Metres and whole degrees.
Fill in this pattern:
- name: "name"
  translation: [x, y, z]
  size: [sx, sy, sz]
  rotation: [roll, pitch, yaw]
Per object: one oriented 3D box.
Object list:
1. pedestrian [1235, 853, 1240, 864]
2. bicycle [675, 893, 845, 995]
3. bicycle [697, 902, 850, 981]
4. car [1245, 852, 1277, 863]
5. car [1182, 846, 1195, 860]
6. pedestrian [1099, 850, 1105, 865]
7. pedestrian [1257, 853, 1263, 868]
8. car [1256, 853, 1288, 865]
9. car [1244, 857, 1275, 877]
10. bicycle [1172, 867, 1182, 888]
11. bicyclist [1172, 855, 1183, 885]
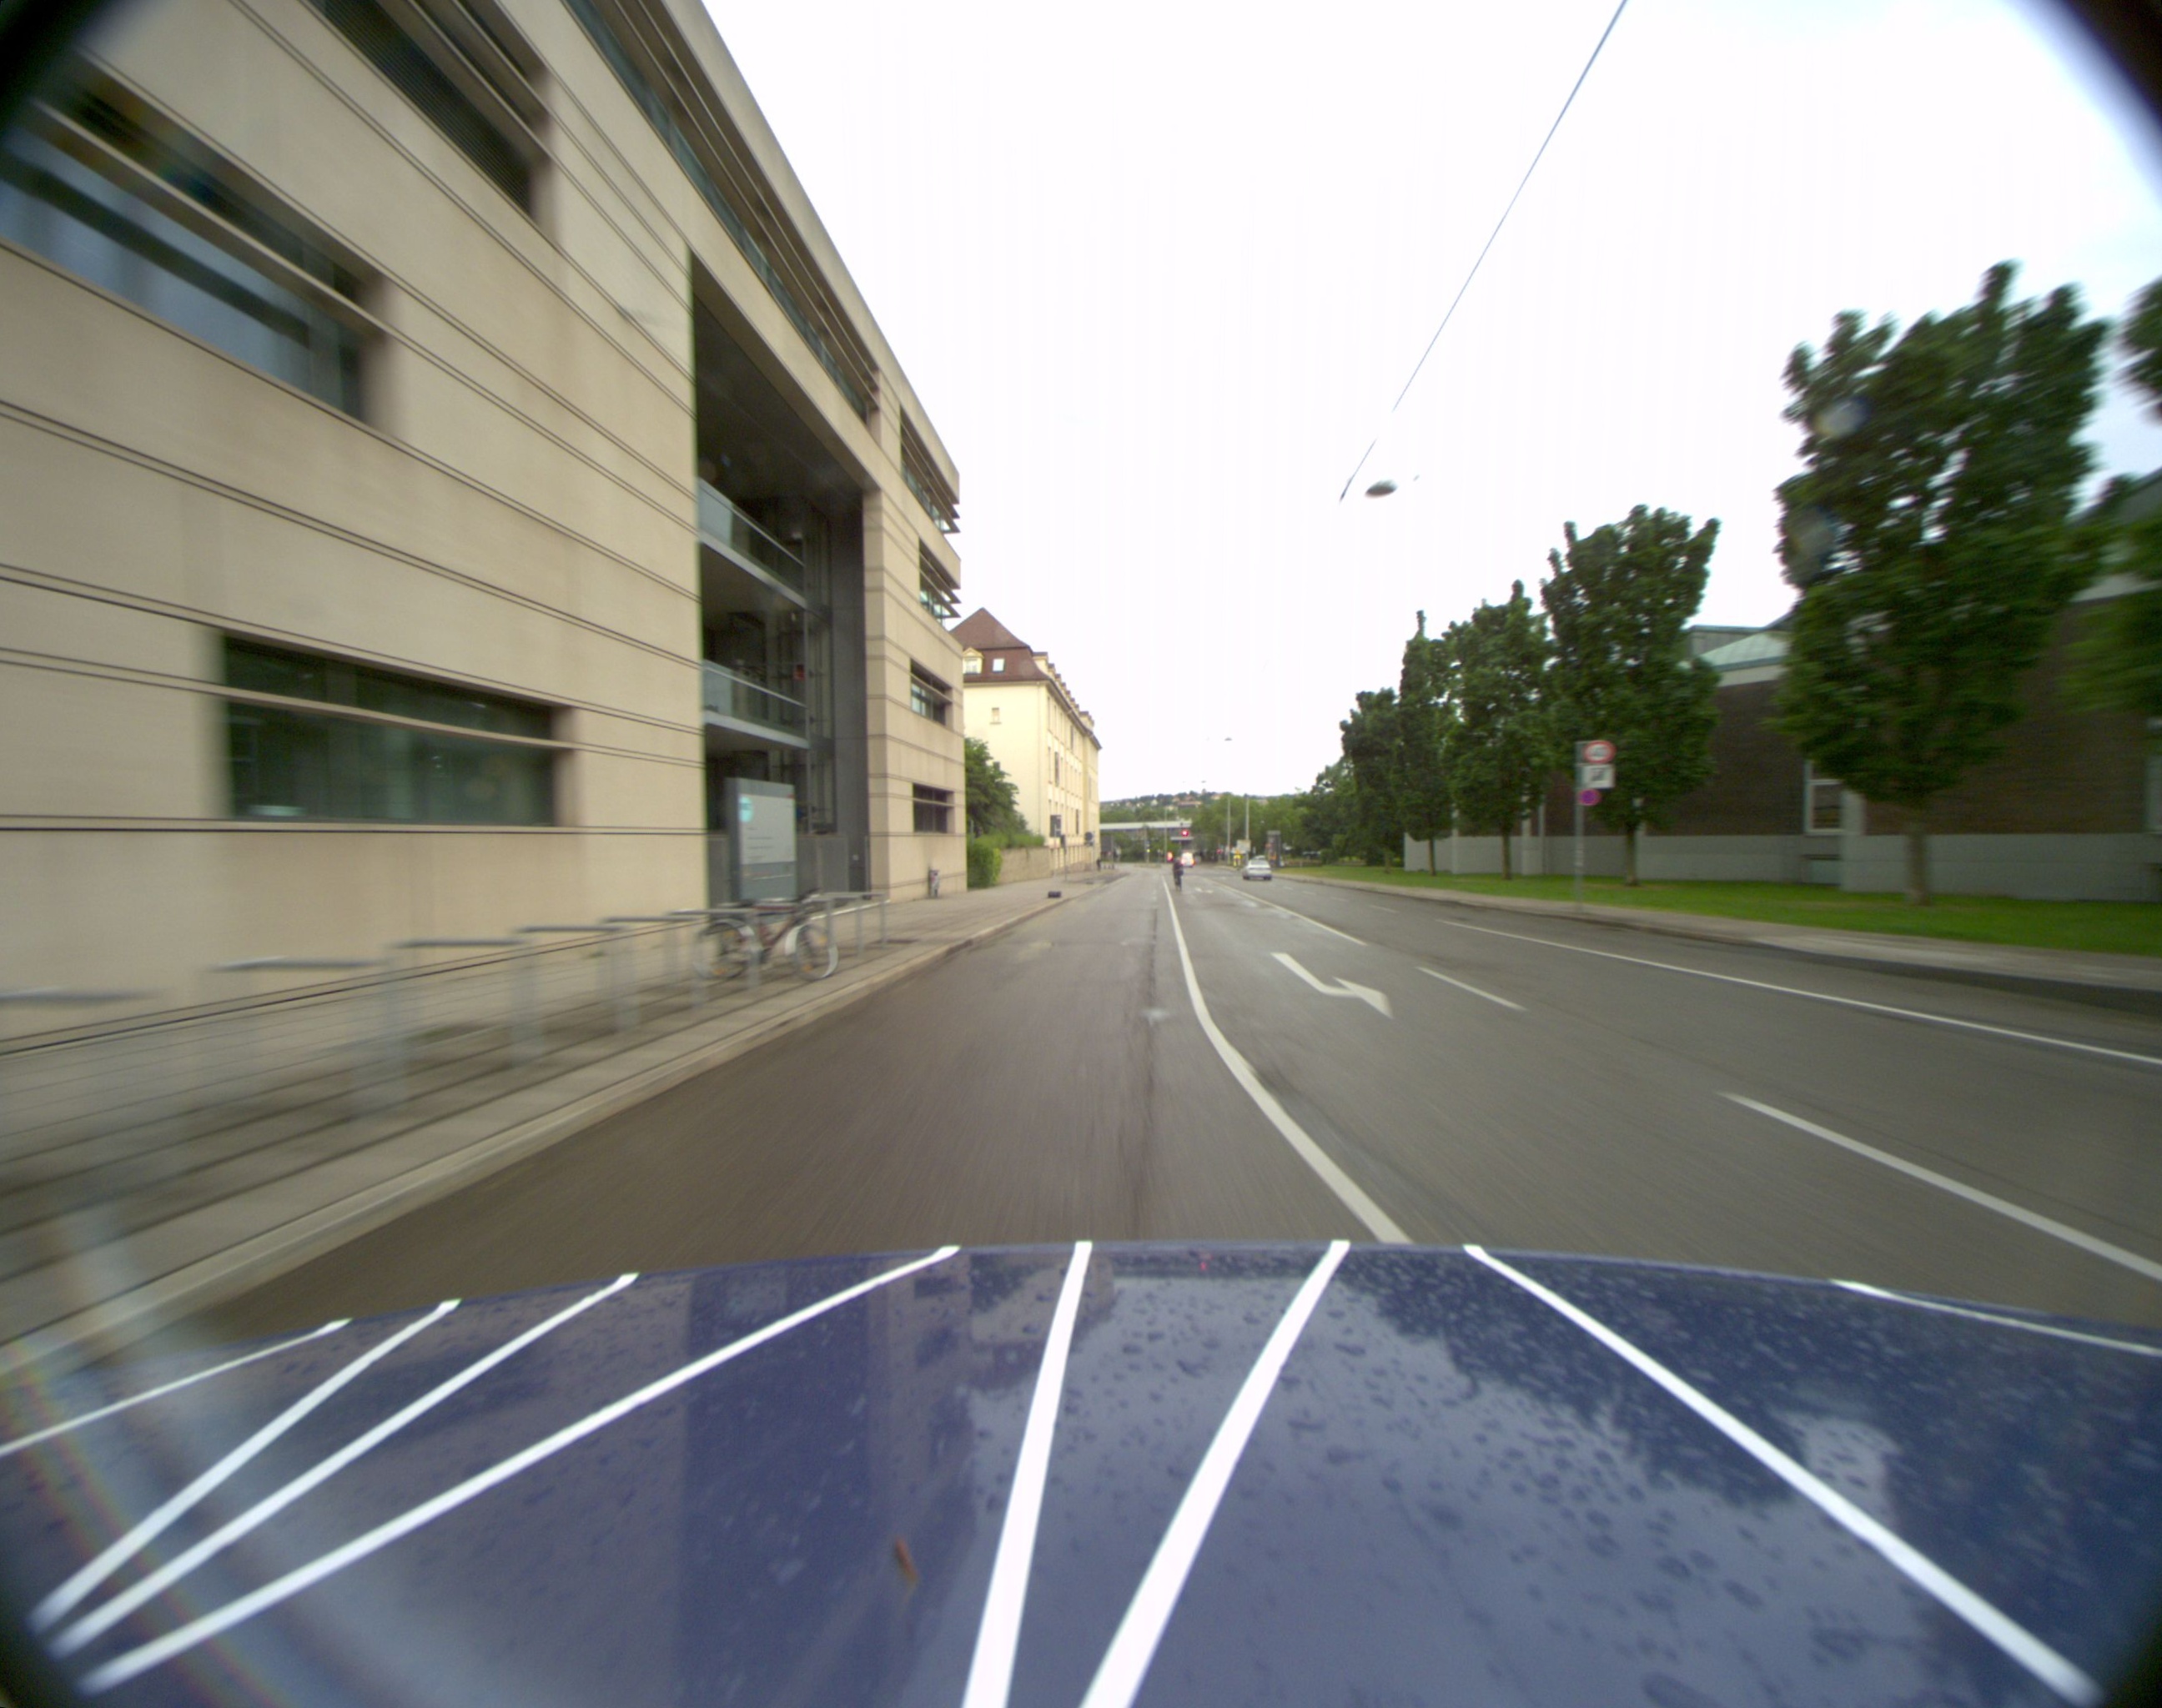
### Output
- name: "pedestrian"
  translation: [25.181, 0.699, 122.240]
  size: [0.629, 1.686, 0.643]
  rotation: [-2, 1, -2]
- name: "bicycle"
  translation: [-3.821, 1.060, 9.126]
  size: [1.733, 1.112, 0.659]
  rotation: [-1, 1, 1]
- name: "bicycle"
  translation: [-4.071, 1.153, 10.140]
  size: [1.762, 0.947, 0.660]
  rotation: [-1, 1, 3]
- name: "car"
  translation: [29.535, 0.557, 124.642]
  size: [2.020, 1.745, 4.710]
  rotation: [-2, 1, -42]
- name: "car"
  translation: [19.654, -0.158, 139.195]
  size: [1.987, 2.514, 5.633]
  rotation: [0, 0, 4]
- name: "pedestrian"
  translation: [2.625, 0.420, 93.701]
  size: [0.671, 1.787, 0.852]
  rotation: [1, 1, 7]
- name: "pedestrian"
  translation: [20.027, 0.757, 85.027]
  size: [0.671, 1.677, 0.914]
  rotation: [-1, 1, 13]
- name: "car"
  translation: [27.143, 0.773, 107.954]
  size: [1.871, 1.600, 4.516]
  rotation: [-2, 1, -28]
- name: "car"
  translation: [13.884, 0.985, 59.385]
  size: [1.885, 1.482, 5.223]
  rotation: [1, 0, 8]
- name: "bicycle"
  translation: [4.753, 1.146, 37.526]
  size: [0.448, 0.957, 1.691]
  rotation: [-1, 0, 8]
- name: "bicyclist"
  translation: [4.771, 0.799, 37.403]
  size: [0.485, 1.425, 0.930]
  rotation: [-2, 1, 8]
